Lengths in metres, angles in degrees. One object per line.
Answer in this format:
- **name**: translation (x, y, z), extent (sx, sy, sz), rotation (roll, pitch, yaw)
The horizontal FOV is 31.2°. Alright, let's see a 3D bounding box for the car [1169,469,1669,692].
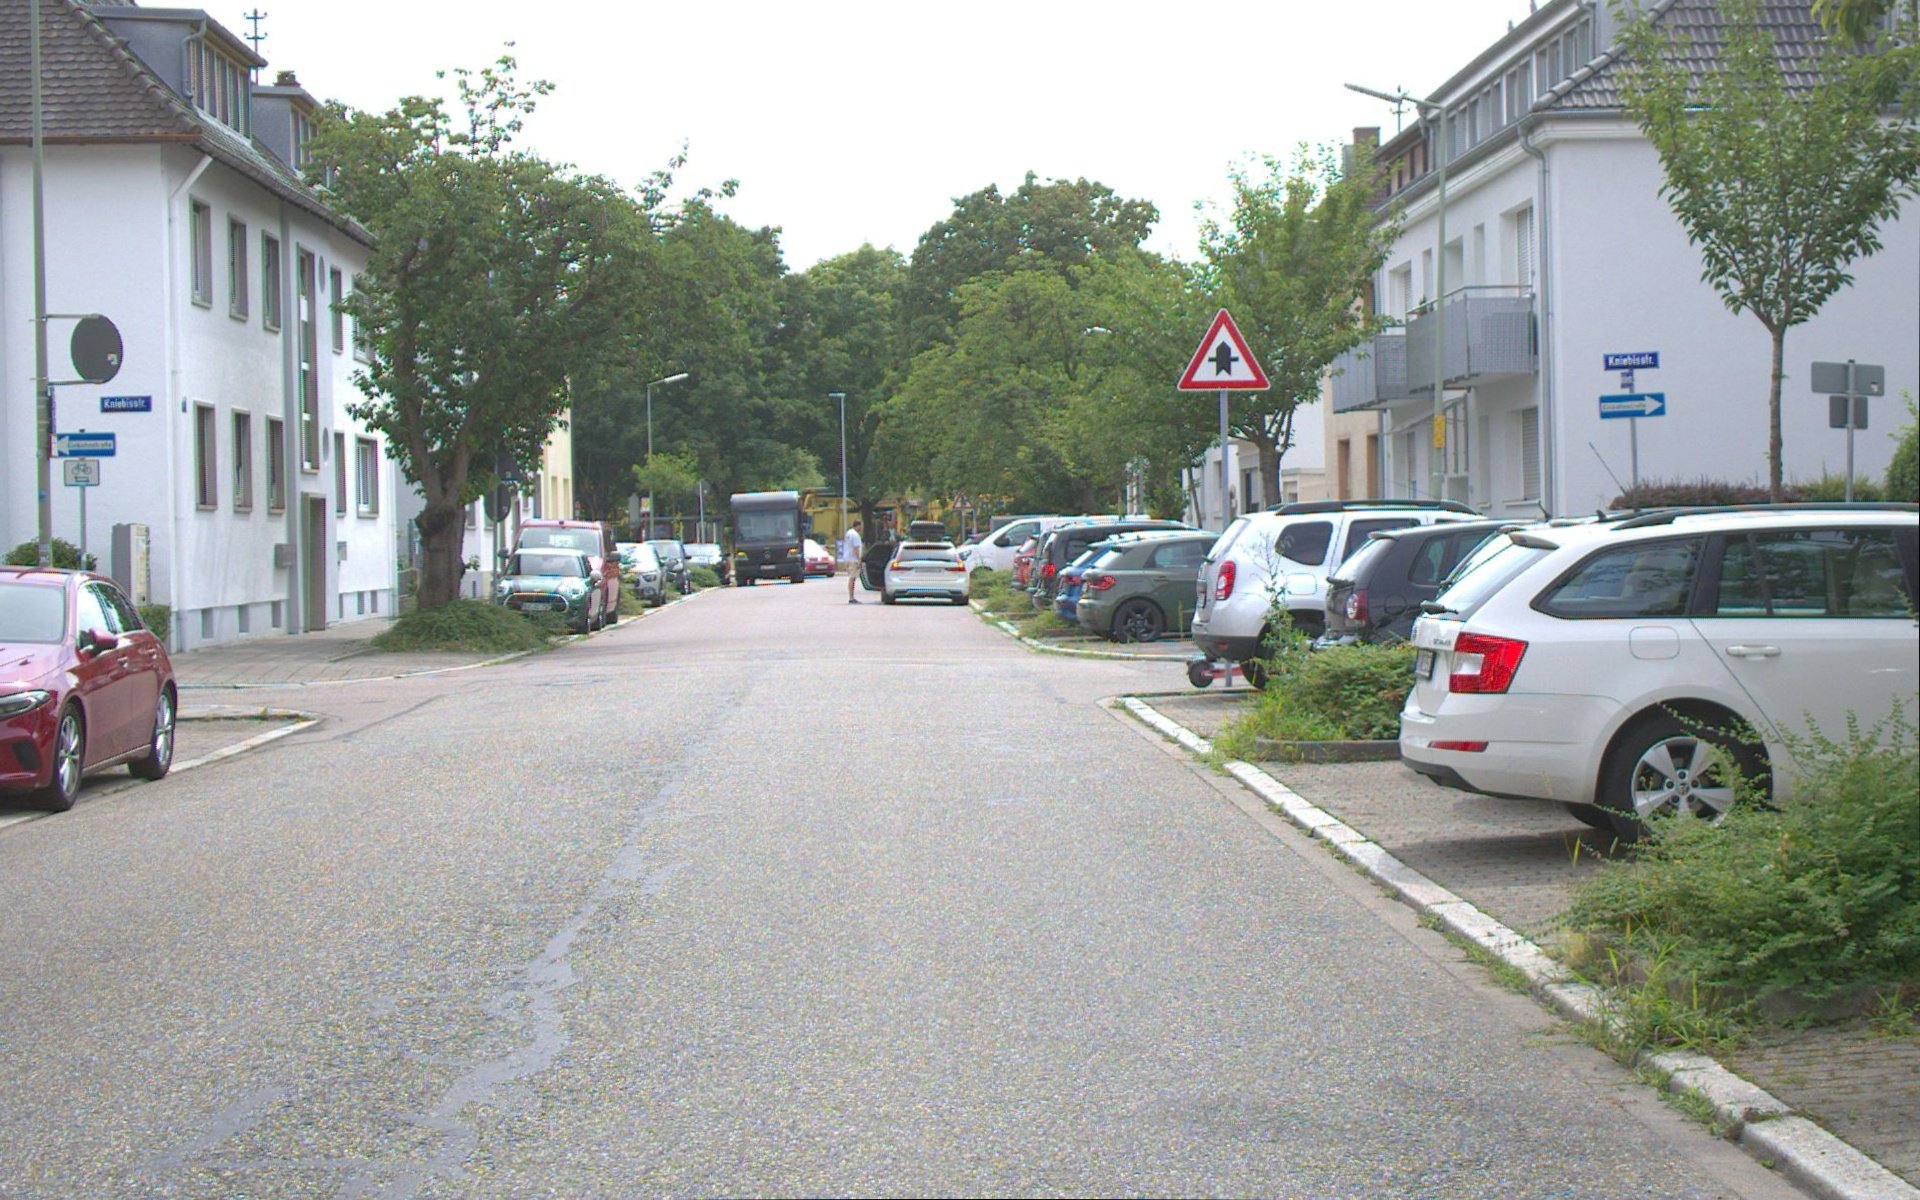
- **car**: translation (3.843, -0.178, 29.260), extent (3.923, 1.627, 1.868), rotation (-3, 1, 0)

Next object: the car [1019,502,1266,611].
- **car**: translation (3.045, -0.740, 58.072), extent (3.987, 1.612, 1.867), rotation (-3, 1, 0)

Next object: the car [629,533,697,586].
- **car**: translation (-8.328, -1.150, 96.639), extent (1.651, 1.372, 3.722), rotation (-3, 1, -2)

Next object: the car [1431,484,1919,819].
- **car**: translation (4.545, 0.184, 17.437), extent (3.987, 1.503, 1.712), rotation (-3, 1, -1)

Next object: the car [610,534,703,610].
- **car**: translation (-6.243, -0.600, 71.038), extent (1.651, 1.456, 3.552), rotation (-3, 1, -2)

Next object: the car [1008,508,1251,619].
- **car**: translation (2.697, -0.602, 55.259), extent (3.747, 1.559, 1.773), rotation (-3, 1, 0)

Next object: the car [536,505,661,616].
- **car**: translation (-6.816, -0.767, 65.237), extent (1.993, 2.007, 4.521), rotation (-1, 1, -2)

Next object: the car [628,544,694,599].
- **car**: translation (-7.612, -0.743, 87.712), extent (1.538, 1.297, 3.722), rotation (-3, 1, -4)

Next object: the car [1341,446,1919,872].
- **car**: translation (4.140, 0.162, 15.214), extent (4.614, 1.658, 1.892), rotation (-3, 1, 0)

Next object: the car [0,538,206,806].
- **car**: translation (-6.134, 0.404, 21.446), extent (1.877, 1.481, 4.513), rotation (-3, 1, -1)

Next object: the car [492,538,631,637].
- **car**: translation (-6.842, -0.240, 59.404), extent (1.763, 1.548, 3.731), rotation (-3, 1, 2)

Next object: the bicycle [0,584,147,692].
- **bicycle**: translation (-10.468, 0.440, 40.492), extent (1.633, 1.175, 0.435), rotation (-3, 1, -5)

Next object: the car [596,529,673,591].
- **car**: translation (-7.795, -0.972, 82.642), extent (1.651, 1.372, 3.722), rotation (-3, 1, -4)

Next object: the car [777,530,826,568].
- **car**: translation (-5.861, -1.909, 127.289), extent (1.754, 1.337, 4.001), rotation (-2, 1, -2)

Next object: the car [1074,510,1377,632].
- **car**: translation (3.428, -0.389, 44.868), extent (3.747, 1.361, 1.773), rotation (-3, 1, 0)

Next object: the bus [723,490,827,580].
- **bus**: translation (-6.153, -2.192, 115.824), extent (3.004, 2.751, 8.925), rotation (-3, 1, -1)

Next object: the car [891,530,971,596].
- **car**: translation (-0.637, -0.855, 76.742), extent (1.687, 1.349, 3.827), rotation (-3, 1, 0)

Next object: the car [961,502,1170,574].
- **car**: translation (2.598, -1.544, 85.212), extent (4.974, 1.513, 1.769), rotation (-3, 1, -3)

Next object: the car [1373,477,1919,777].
- **car**: translation (4.508, 0.098, 19.693), extent (3.987, 1.503, 1.712), rotation (-3, 1, -1)

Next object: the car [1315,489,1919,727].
- **car**: translation (4.633, 0.038, 24.282), extent (3.987, 1.417, 1.712), rotation (-3, 1, -1)

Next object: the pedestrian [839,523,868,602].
- **pedestrian**: translation (-2.345, -0.832, 76.078), extent (0.522, 1.698, 0.444), rotation (-3, 1, 3)

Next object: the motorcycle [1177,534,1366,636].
- **motorcycle**: translation (3.840, -0.195, 42.522), extent (2.193, 1.206, 0.940), rotation (-1, 1, -3)

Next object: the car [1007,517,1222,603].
- **car**: translation (2.980, -0.787, 66.877), extent (3.987, 1.434, 1.723), rotation (-3, 1, -1)

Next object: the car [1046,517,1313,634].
- **car**: translation (3.009, -0.351, 47.553), extent (3.517, 1.407, 1.559), rotation (-3, 1, -1)
